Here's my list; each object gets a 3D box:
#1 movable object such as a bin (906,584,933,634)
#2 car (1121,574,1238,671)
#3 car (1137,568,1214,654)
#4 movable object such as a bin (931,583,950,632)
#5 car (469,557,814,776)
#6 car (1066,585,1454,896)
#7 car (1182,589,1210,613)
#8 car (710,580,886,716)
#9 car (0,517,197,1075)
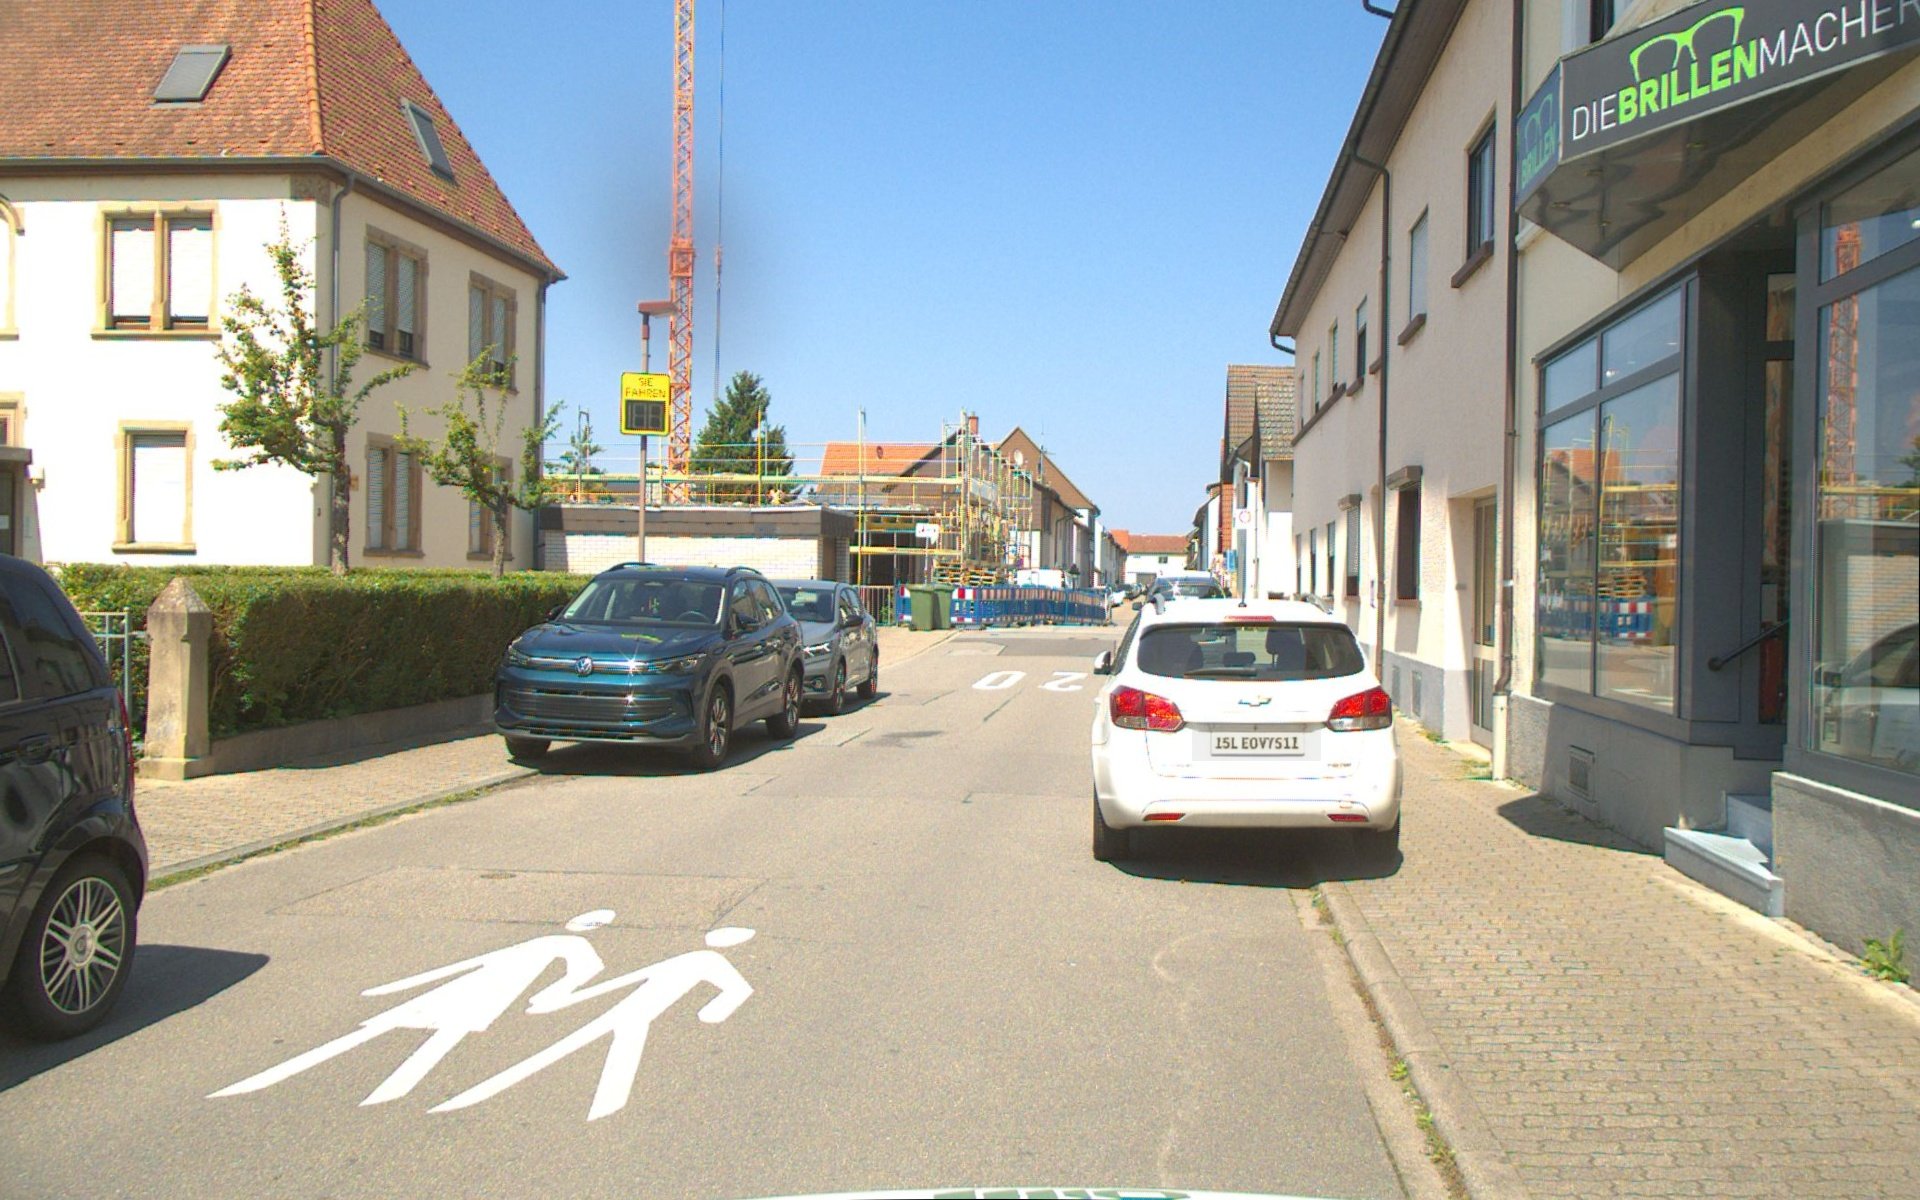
[{"bbox_3d":[-0.971,0.218,39.566,0.609,1.176,0.677,1,1,0],"label":"movable object such as a bin"},{"bbox_3d":[3.957,0.359,30.363,1.845,1.583,3.897,-3,1,4],"label":"car"},{"bbox_3d":[4.603,0.194,35.513,1.531,1.641,3.546,1,3,7],"label":"car"},{"bbox_3d":[-0.467,0.183,39.988,0.423,1.176,0.364,1,0,-3],"label":"movable object such as a bin"},{"bbox_3d":[-2.666,0.496,14.913,1.787,1.659,4.220,1,0,8],"label":"car"},{"bbox_3d":[1.679,0.704,10.639,1.847,1.569,4.244,1,0,2],"label":"car"},{"bbox_3d":[14.548,0.038,102.117,1.522,1.411,3.453,1,1,5],"label":"car"},{"bbox_3d":[-1.892,0.529,20.278,1.406,1.500,3.789,1,0,6],"label":"car"},{"bbox_3d":[-3.738,0.581,4.108,1.603,1.657,3.771,1,1,6],"label":"car"}]
